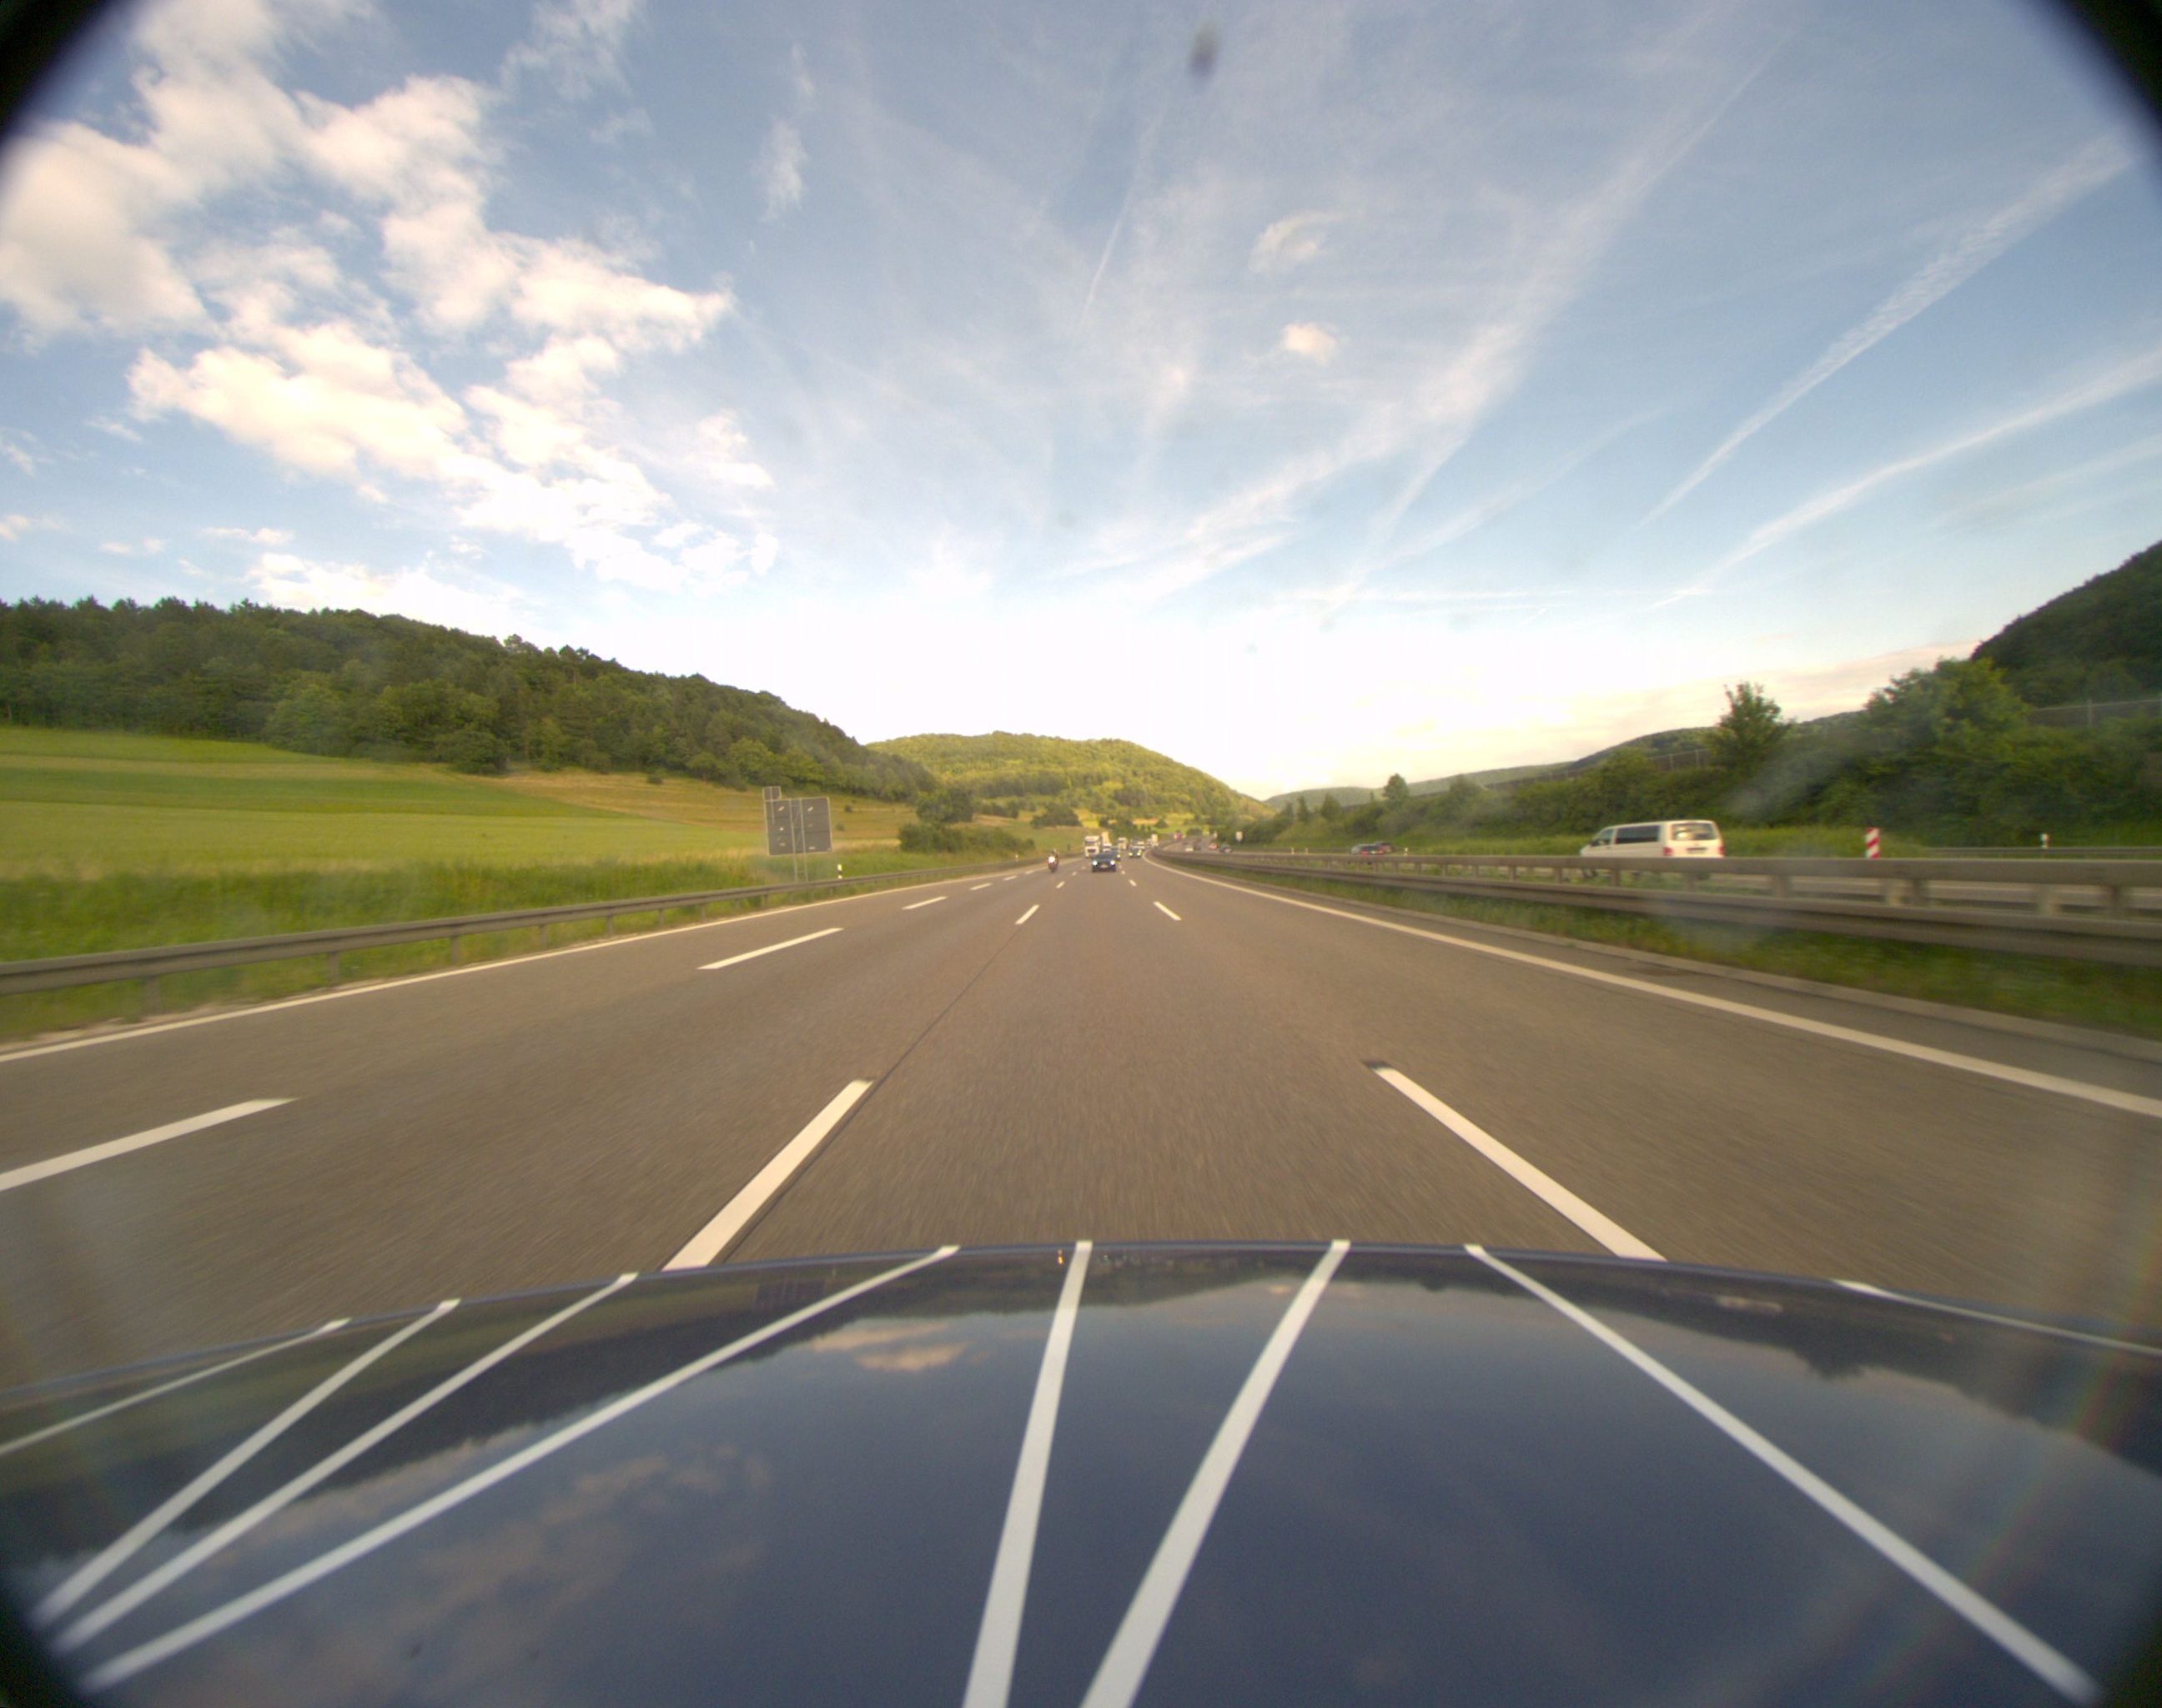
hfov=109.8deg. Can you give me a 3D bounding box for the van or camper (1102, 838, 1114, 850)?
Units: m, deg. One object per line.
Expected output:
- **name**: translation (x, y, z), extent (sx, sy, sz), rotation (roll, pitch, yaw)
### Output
- **van or camper**: translation (6.413, -2.397, 179.601), extent (1.997, 2.702, 7.526), rotation (-1, 1, 10)

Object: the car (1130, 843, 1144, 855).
- **car**: translation (9.204, -0.883, 124.923), extent (1.997, 1.871, 4.001), rotation (0, 1, 7)

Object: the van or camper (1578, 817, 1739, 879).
- **van or camper**: translation (19.449, -0.206, 25.920), extent (1.920, 1.862, 4.754), rotation (-1, 1, 1)

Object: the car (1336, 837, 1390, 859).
- **car**: translation (20.417, -0.420, 55.196), extent (1.999, 1.488, 4.691), rotation (-1, 1, -2)

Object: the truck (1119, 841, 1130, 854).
- **truck**: translation (14.564, -2.190, 251.418), extent (2.924, 3.877, 13.012), rotation (-2, 2, 6)

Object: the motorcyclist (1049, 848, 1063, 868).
- **motorcyclist**: translation (-1.964, 0.281, 59.611), extent (0.878, 1.506, 0.797), rotation (-2, 2, 5)

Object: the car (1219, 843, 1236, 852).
- **car**: translation (24.391, -1.065, 126.758), extent (1.998, 1.488, 4.692), rotation (0, 1, 2)

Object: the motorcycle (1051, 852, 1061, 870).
- **motorcycle**: translation (-1.973, 0.577, 59.686), extent (0.628, 1.331, 1.739), rotation (-2, 2, 3)

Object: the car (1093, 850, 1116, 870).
- **car**: translation (1.777, 0.442, 57.220), extent (1.580, 1.311, 4.000), rotation (-2, 2, 4)

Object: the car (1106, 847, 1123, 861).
- **car**: translation (4.614, 0.007, 103.620), extent (1.997, 1.871, 4.001), rotation (0, 1, 7)

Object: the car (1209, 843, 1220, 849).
- **car**: translation (35.239, -2.112, 200.310), extent (1.764, 1.350, 4.381), rotation (-2, 1, -3)

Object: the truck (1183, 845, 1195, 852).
- **truck**: translation (23.902, -1.187, 167.968), extent (1.998, 1.357, 4.645), rotation (-2, 1, 1)

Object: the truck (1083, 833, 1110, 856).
- **truck**: translation (3.137, -2.022, 143.957), extent (2.970, 3.970, 17.737), rotation (-2, 2, 8)

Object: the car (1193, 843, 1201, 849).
- **car**: translation (30.613, -2.022, 200.378), extent (1.997, 1.477, 4.002), rotation (-1, 1, 8)
